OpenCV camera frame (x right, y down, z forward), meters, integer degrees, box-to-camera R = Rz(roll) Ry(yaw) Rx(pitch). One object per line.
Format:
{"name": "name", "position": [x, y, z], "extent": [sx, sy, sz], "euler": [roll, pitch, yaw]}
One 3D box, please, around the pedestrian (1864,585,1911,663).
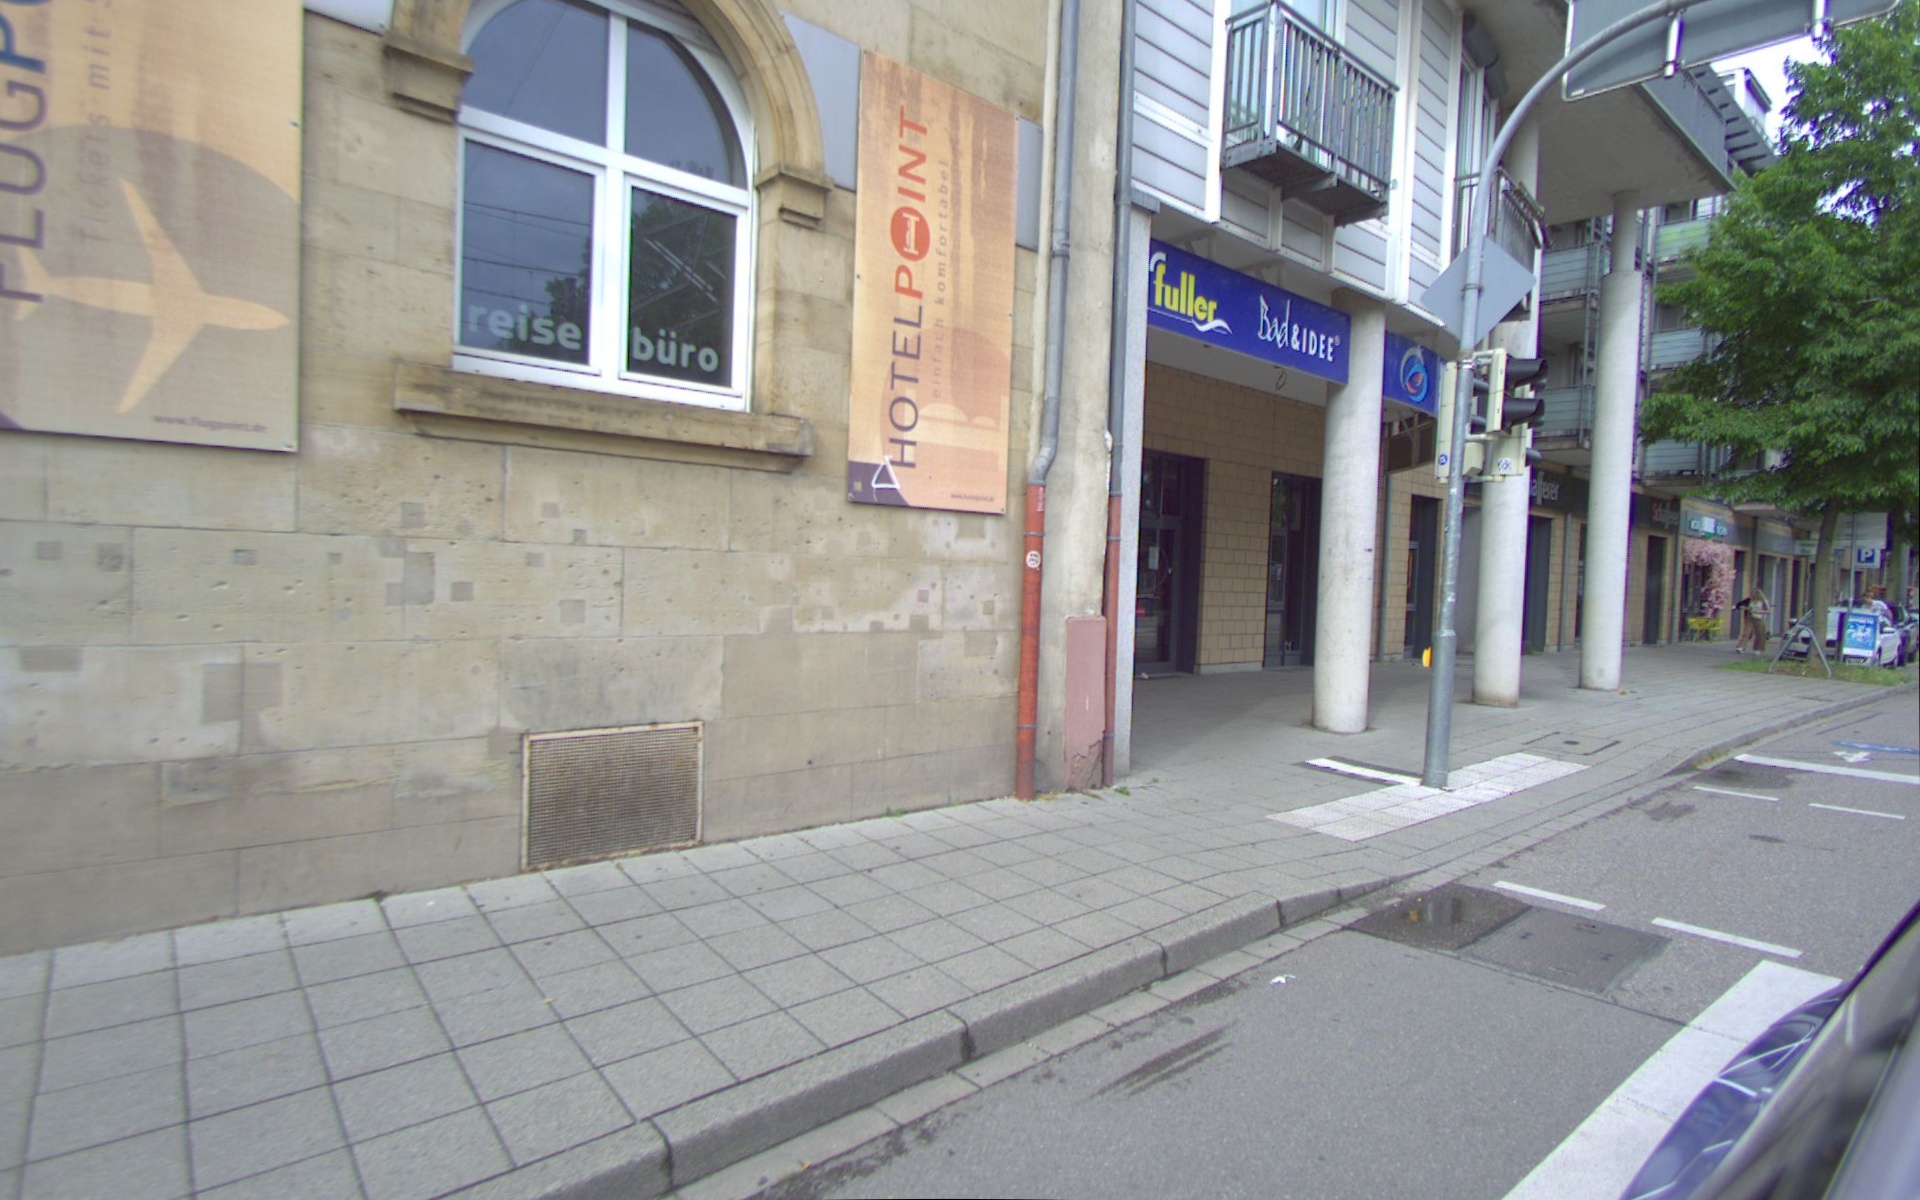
{"name": "pedestrian", "position": [23.637, 0.608, 25.796], "extent": [0.630, 1.958, 0.655], "euler": [1, 0, -25]}

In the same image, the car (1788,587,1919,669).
{"name": "car", "position": [21.396, 0.617, 24.150], "extent": [4.031, 1.681, 1.731], "euler": [1, 4, -40]}

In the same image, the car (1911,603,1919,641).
{"name": "car", "position": [37.596, 0.898, 38.388], "extent": [3.748, 1.399, 1.731], "euler": [1, 4, -40]}

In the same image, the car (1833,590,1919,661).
{"name": "car", "position": [25.470, 0.661, 27.692], "extent": [3.873, 1.682, 1.731], "euler": [1, 4, -40]}

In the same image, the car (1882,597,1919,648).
{"name": "car", "position": [31.960, 0.749, 33.412], "extent": [3.873, 1.563, 1.685], "euler": [1, 4, -40]}

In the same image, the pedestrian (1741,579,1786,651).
{"name": "pedestrian", "position": [20.928, 0.383, 26.357], "extent": [0.825, 1.828, 0.744], "euler": [1, 0, -41]}
